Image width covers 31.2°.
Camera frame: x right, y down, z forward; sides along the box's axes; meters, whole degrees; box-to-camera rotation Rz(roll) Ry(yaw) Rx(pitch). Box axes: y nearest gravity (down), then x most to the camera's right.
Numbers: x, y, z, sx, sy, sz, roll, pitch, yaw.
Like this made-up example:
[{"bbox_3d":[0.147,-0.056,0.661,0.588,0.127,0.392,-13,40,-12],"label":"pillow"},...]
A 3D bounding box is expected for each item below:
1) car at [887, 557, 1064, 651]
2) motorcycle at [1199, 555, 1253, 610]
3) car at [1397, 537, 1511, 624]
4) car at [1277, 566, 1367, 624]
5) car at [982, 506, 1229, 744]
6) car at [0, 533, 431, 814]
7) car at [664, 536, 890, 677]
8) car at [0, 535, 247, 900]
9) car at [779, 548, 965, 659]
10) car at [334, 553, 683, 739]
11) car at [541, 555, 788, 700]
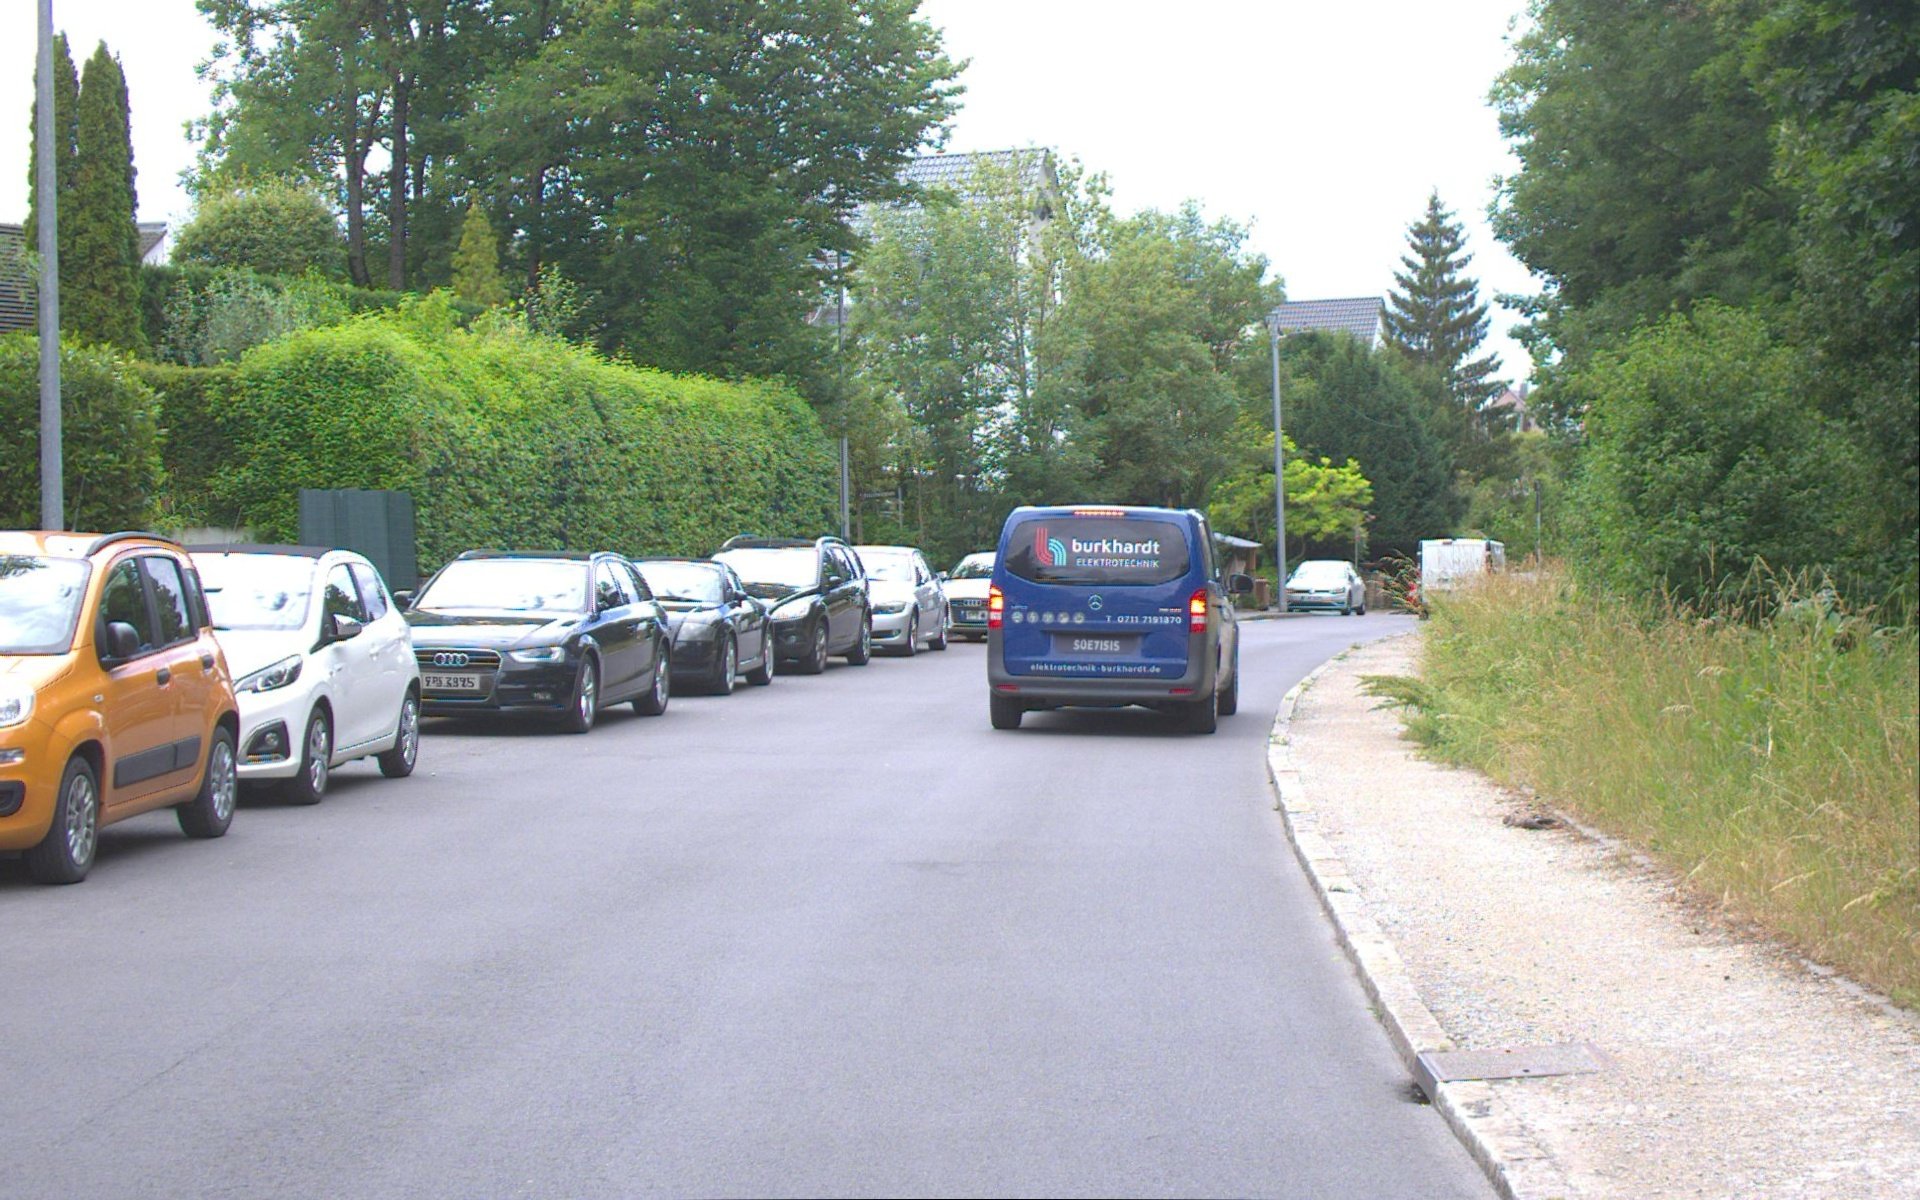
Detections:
[{"bbox_3d":[0.296,0.031,53.613,1.832,1.369,4.443,1,1,12],"label":"car"},{"bbox_3d":[7.325,-0.483,94.482,0.810,1.480,2.893,1,0,17],"label":"motorcycle"},{"bbox_3d":[12.184,-0.479,84.503,2.207,2.056,6.131,0,0,13],"label":"car"},{"bbox_3d":[9.569,-0.133,90.709,1.707,1.463,4.073,1,0,15],"label":"car"},{"bbox_3d":[1.336,0.165,29.646,1.936,1.873,4.530,1,1,5],"label":"car"},{"bbox_3d":[-4.338,0.374,20.493,1.588,1.509,3.590,1,1,4],"label":"car"},{"bbox_3d":[-2.080,0.044,40.300,1.657,1.528,4.472,1,1,10],"label":"car"},{"bbox_3d":[-4.541,0.454,16.081,1.543,1.509,3.644,1,1,2],"label":"car"},{"bbox_3d":[-1.112,0.012,45.733,1.775,1.369,4.339,1,1,8],"label":"car"},{"bbox_3d":[-3.587,0.313,28.145,1.719,1.380,4.662,1,1,7],"label":"car"},{"bbox_3d":[-2.906,0.235,34.624,1.711,1.336,4.107,1,1,6],"label":"car"}]
